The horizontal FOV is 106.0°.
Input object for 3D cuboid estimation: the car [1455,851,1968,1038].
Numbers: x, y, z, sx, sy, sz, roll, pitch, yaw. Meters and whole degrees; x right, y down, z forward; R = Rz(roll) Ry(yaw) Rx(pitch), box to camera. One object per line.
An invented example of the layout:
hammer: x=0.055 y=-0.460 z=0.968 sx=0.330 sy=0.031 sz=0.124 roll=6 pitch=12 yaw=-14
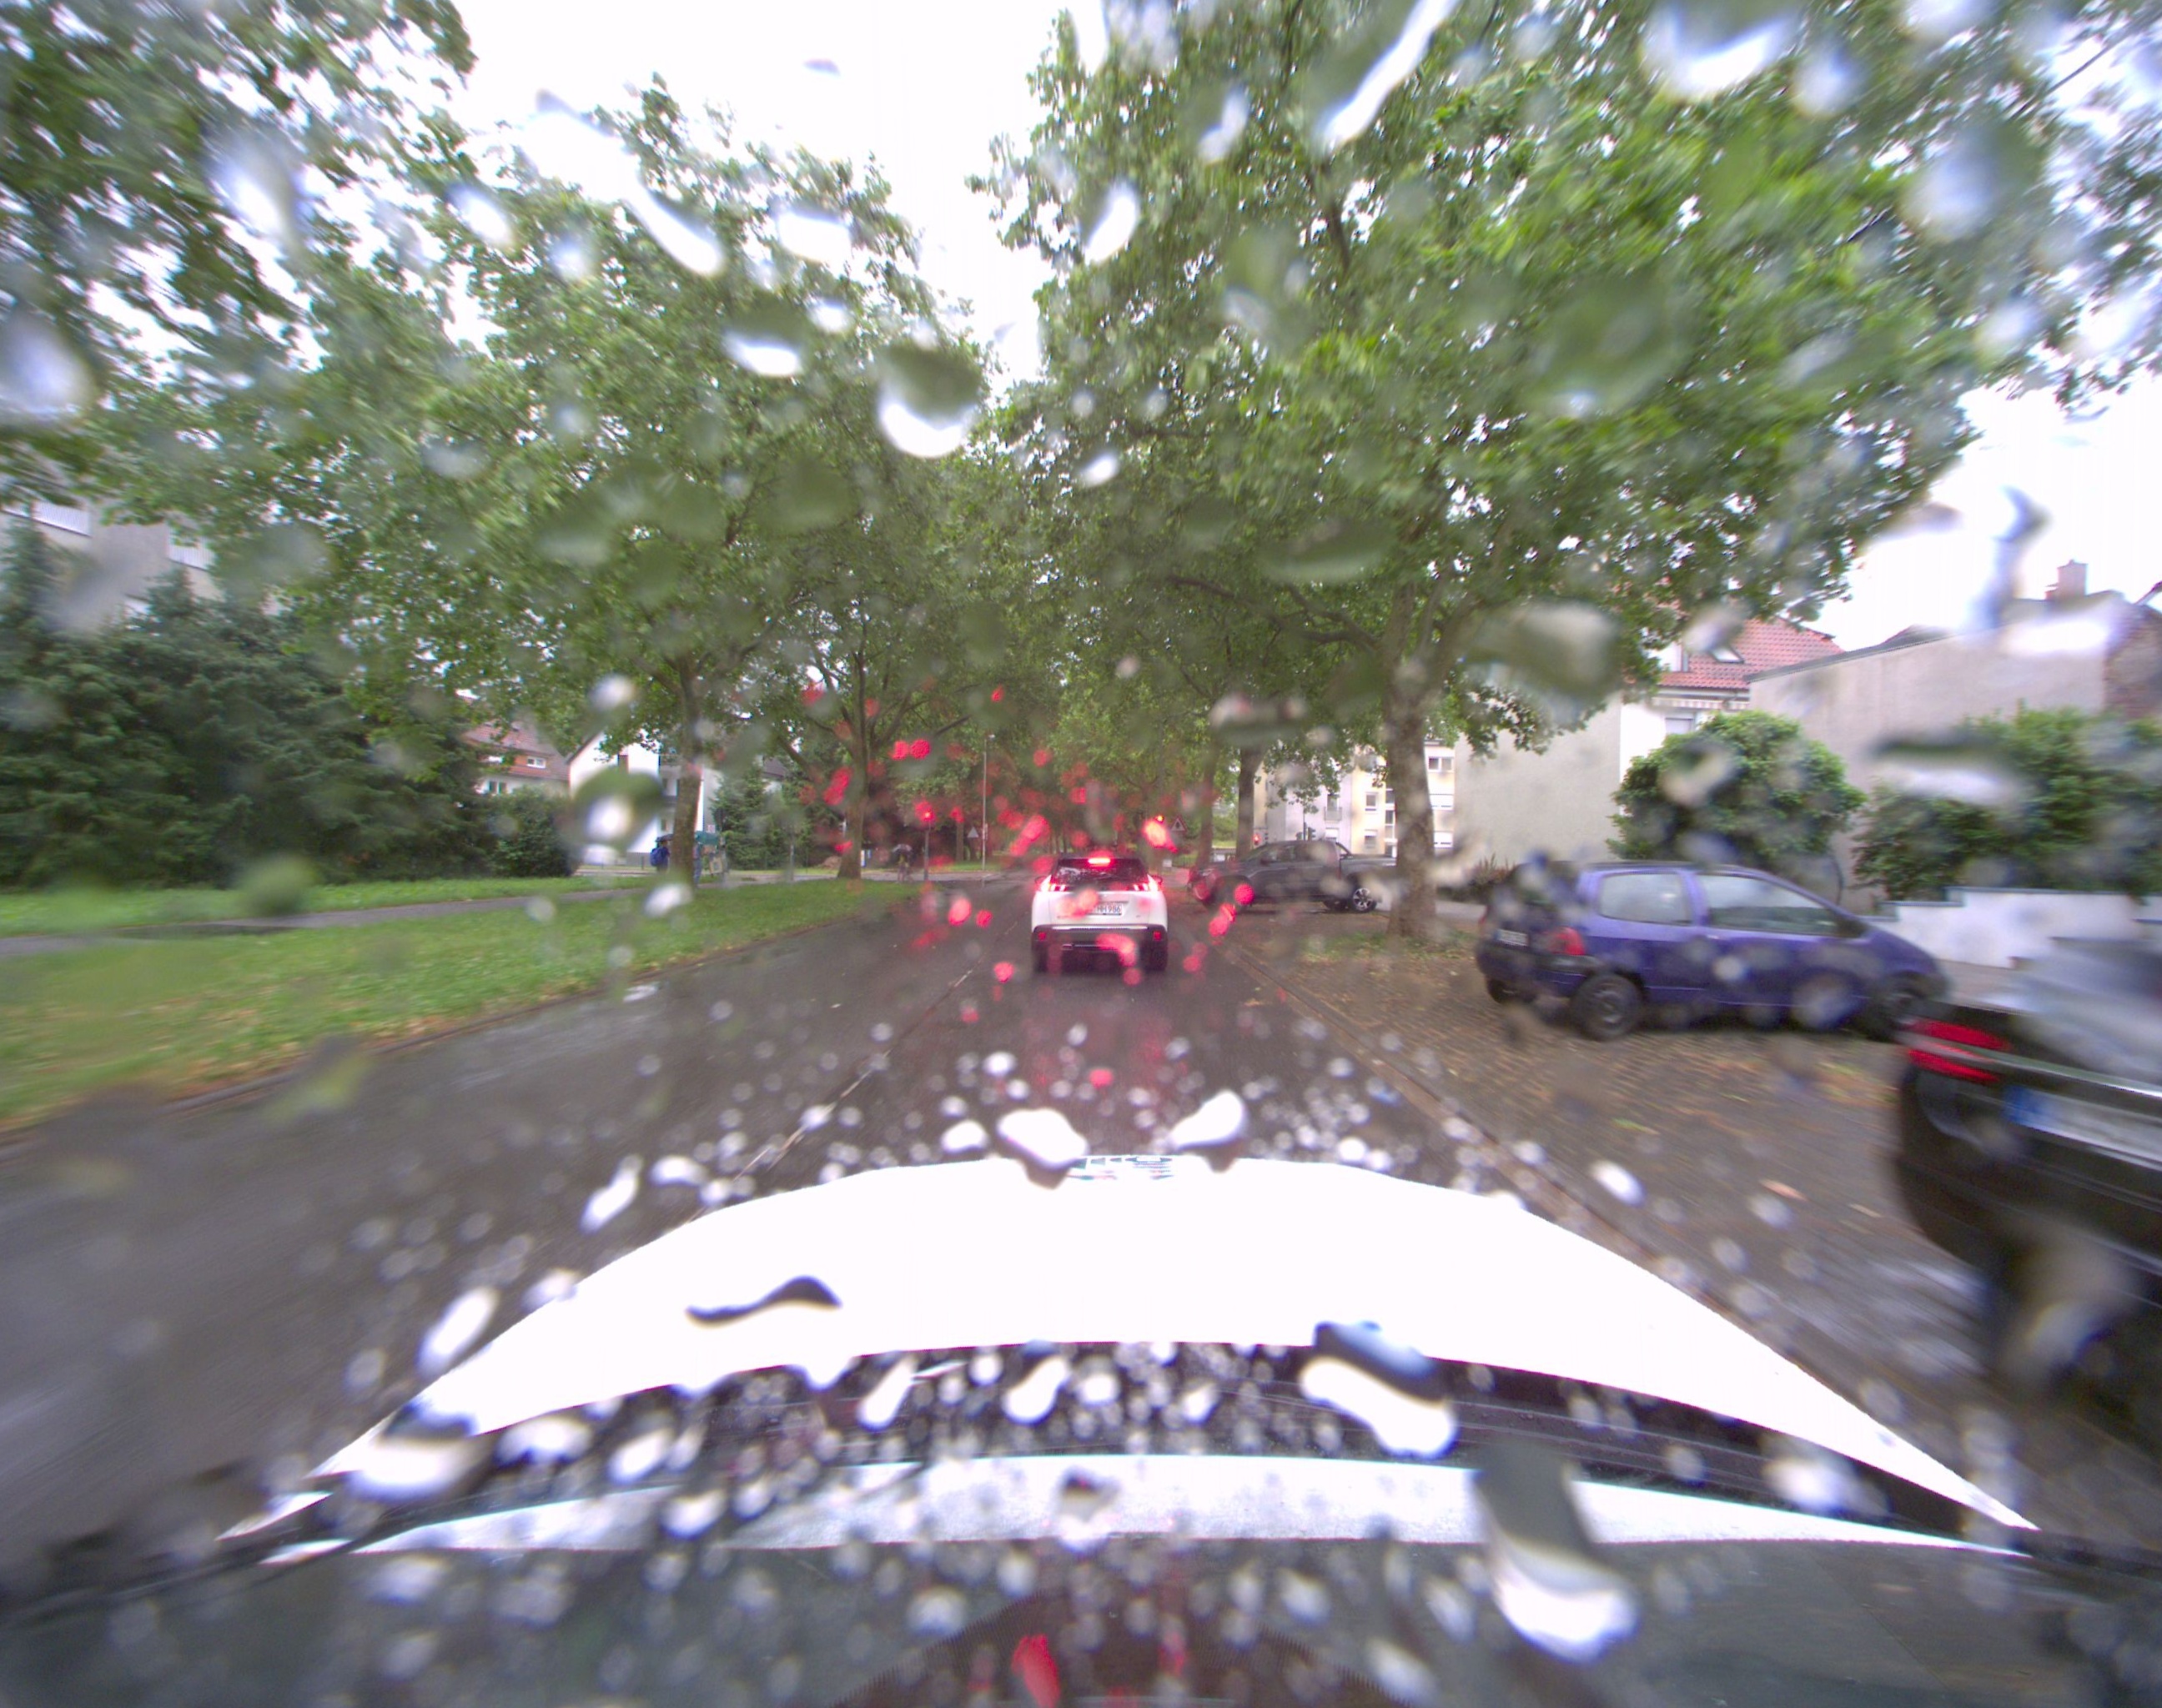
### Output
car: x=5.367 y=0.716 z=7.257 sx=3.344 sy=1.464 sz=1.619 roll=0 pitch=0 yaw=0

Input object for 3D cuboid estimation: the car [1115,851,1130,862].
car: x=5.888 y=0.287 z=116.485 sx=1.900 sy=1.510 sz=3.928 roll=0 pitch=0 yaw=-2

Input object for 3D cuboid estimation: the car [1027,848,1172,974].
car: x=0.287 y=0.682 z=12.008 sx=1.773 sy=1.536 sz=4.059 roll=0 pitch=0 yaw=1

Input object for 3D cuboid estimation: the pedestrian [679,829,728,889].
pedestrian: x=-11.295 y=0.141 z=24.392 sx=1.029 sy=1.765 sz=0.838 roll=0 pitch=0 yaw=1

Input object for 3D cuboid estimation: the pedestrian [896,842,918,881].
pedestrian: x=-7.825 y=0.318 z=36.645 sx=0.856 sy=1.744 sz=0.639 roll=1 pitch=0 yaw=-2

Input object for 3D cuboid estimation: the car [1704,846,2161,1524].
car: x=4.724 y=0.711 z=2.191 sx=4.755 sy=1.473 sz=1.935 roll=0 pitch=0 yaw=-3

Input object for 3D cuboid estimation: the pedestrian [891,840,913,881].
pedestrian: x=-7.838 y=0.277 z=35.760 sx=0.818 sy=1.744 sz=0.639 roll=1 pitch=0 yaw=-1

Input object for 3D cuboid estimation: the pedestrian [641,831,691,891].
pedestrian: x=-12.467 y=0.200 z=24.496 sx=1.029 sy=1.765 sz=0.879 roll=0 pitch=0 yaw=1

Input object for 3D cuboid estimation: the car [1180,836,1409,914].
car: x=5.313 y=0.495 z=20.629 sx=5.330 sy=1.806 sz=1.842 roll=-1 pitch=0 yaw=-6
